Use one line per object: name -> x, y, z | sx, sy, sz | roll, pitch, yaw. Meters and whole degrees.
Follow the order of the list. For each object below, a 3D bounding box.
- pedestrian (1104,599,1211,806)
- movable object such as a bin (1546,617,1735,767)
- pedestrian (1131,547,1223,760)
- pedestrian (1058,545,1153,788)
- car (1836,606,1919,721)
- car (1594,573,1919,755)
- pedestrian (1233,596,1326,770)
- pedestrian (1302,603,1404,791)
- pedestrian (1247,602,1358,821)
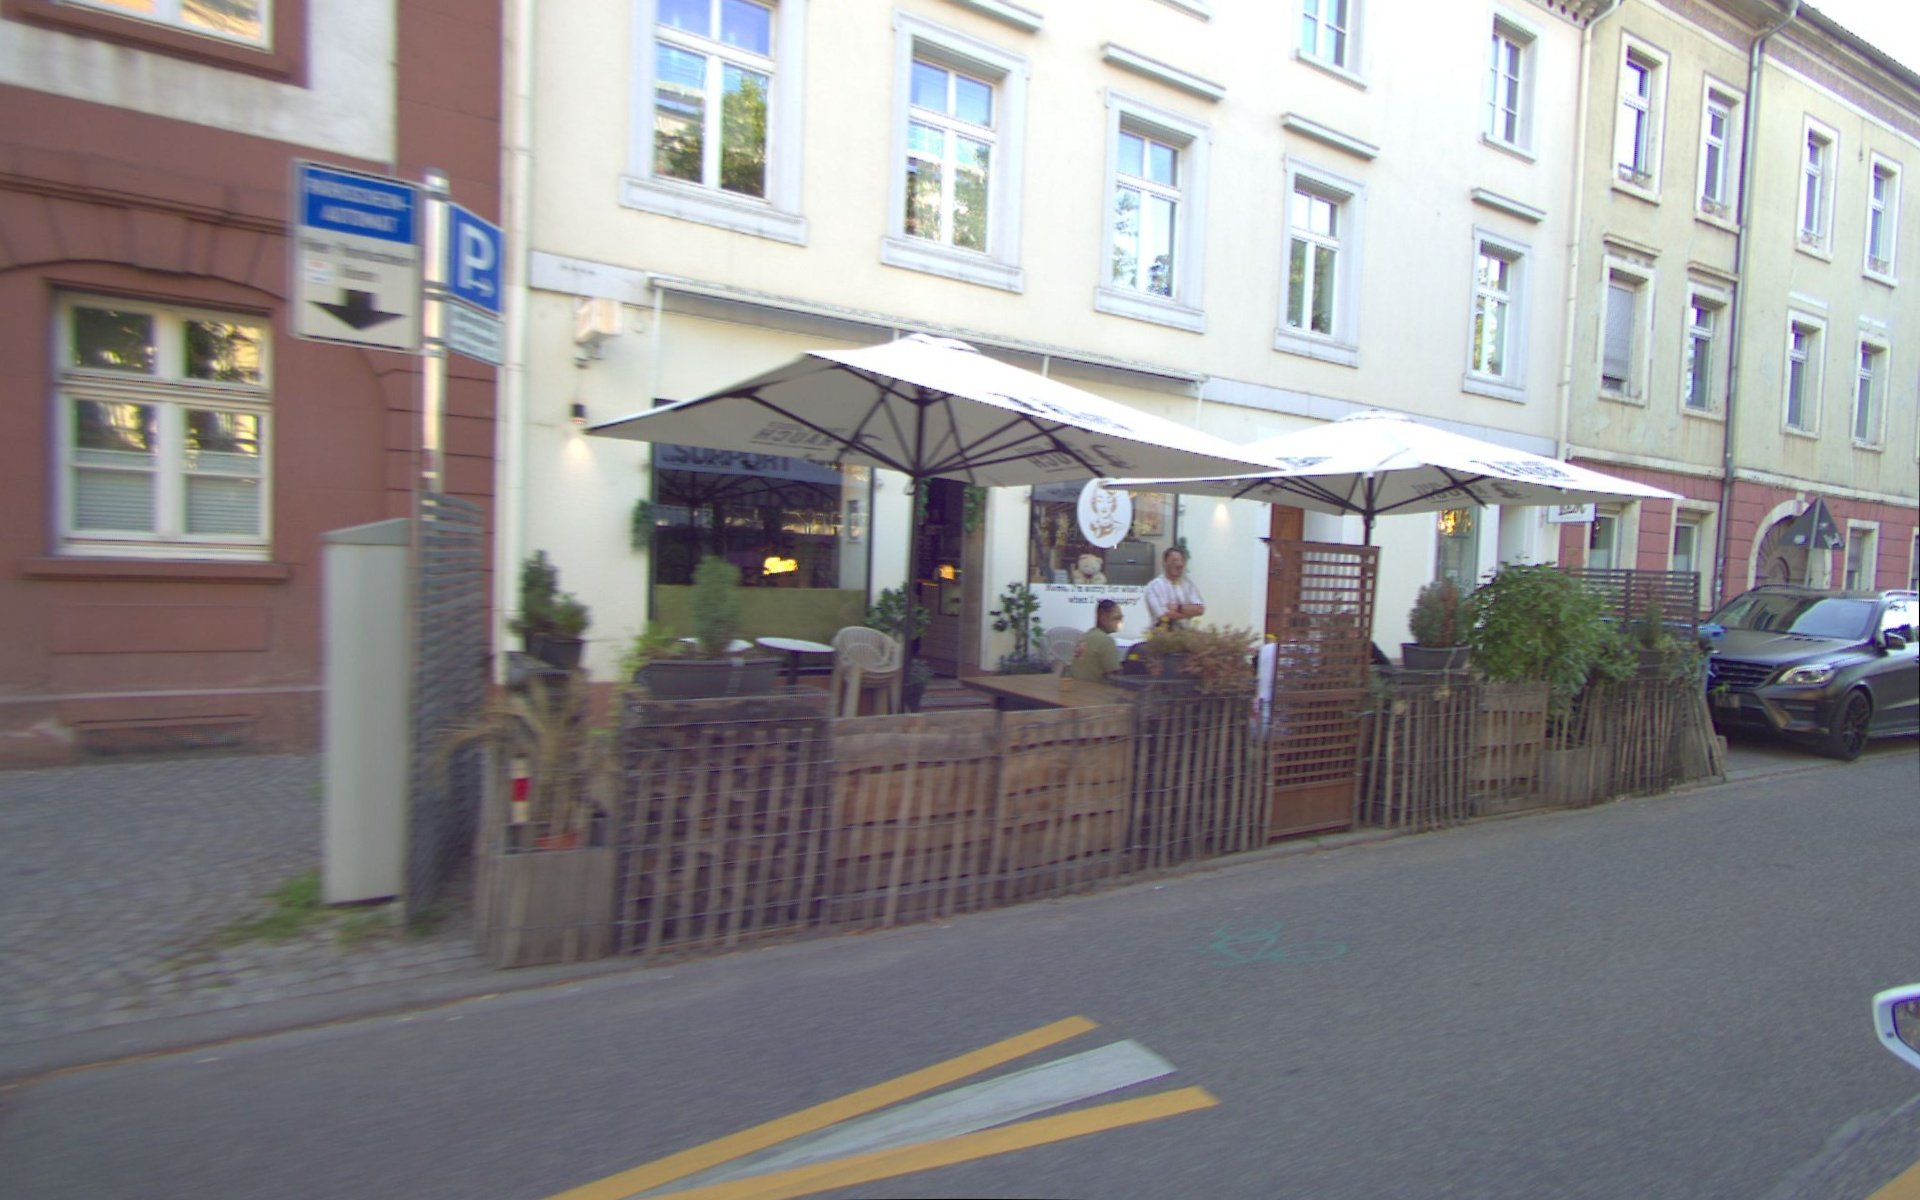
pedestrian -> 1.417, 0.708, 7.243 | 0.483, 1.410, 0.520 | 0, 2, -33
movable object such as a bin -> 6.687, 0.861, 9.921 | 0.918, 1.313, 1.212 | 1, 2, -25
pedestrian -> 1.887, 0.448, 8.755 | 0.588, 1.799, 0.437 | 1, 2, -18
pedestrian -> 1.112, 0.489, 7.775 | 0.433, 1.799, 0.594 | 1, 2, -22
car -> 14.659, 0.891, 14.469 | 4.373, 1.500, 1.646 | 1, 1, -29
car -> 9.573, 0.617, 11.426 | 4.726, 1.702, 1.914 | 1, 1, -29
pedestrian -> 2.728, 0.686, 8.584 | 0.483, 1.410, 0.520 | 0, 2, -33
pedestrian -> 3.116, 0.742, 7.986 | 0.483, 1.410, 0.520 | 0, 2, -33
pedestrian -> 2.393, 0.753, 7.036 | 0.495, 1.452, 0.469 | 1, 2, -26
